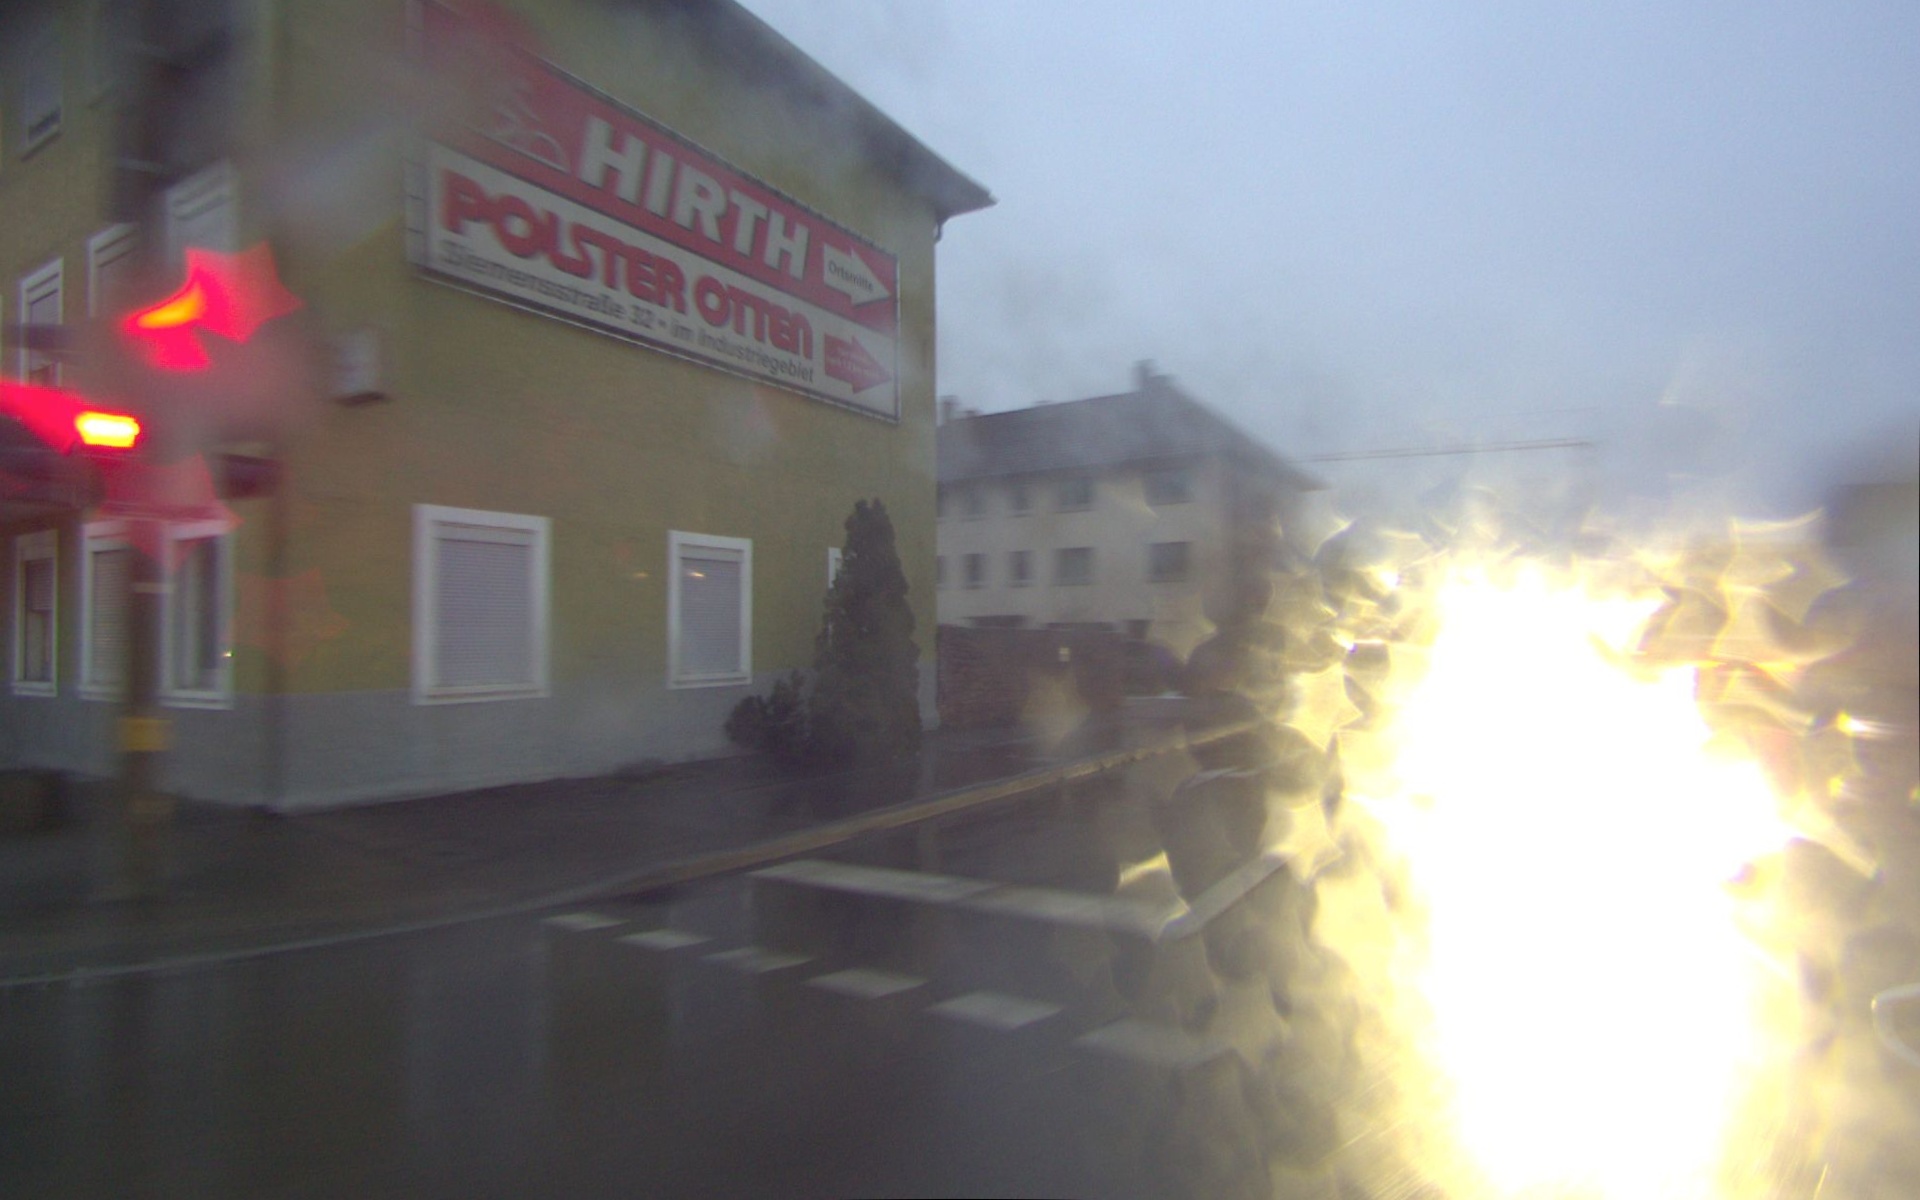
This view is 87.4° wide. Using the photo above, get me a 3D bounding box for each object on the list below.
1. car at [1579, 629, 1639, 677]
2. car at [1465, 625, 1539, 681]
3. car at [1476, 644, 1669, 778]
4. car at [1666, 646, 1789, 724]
[{"bbox_3d":[27.239,2.201,42.274,1.965,1.906,3.991,-2,-2,31],"label":"car"},{"bbox_3d":[16.780,1.614,31.126,1.848,1.606,4.283,-2,-2,29],"label":"car"},{"bbox_3d":[8.161,1.324,13.432,1.854,1.412,4.513,-2,-2,32],"label":"car"},{"bbox_3d":[17.722,1.895,23.402,2.020,1.593,4.689,-1,-3,35],"label":"car"}]
